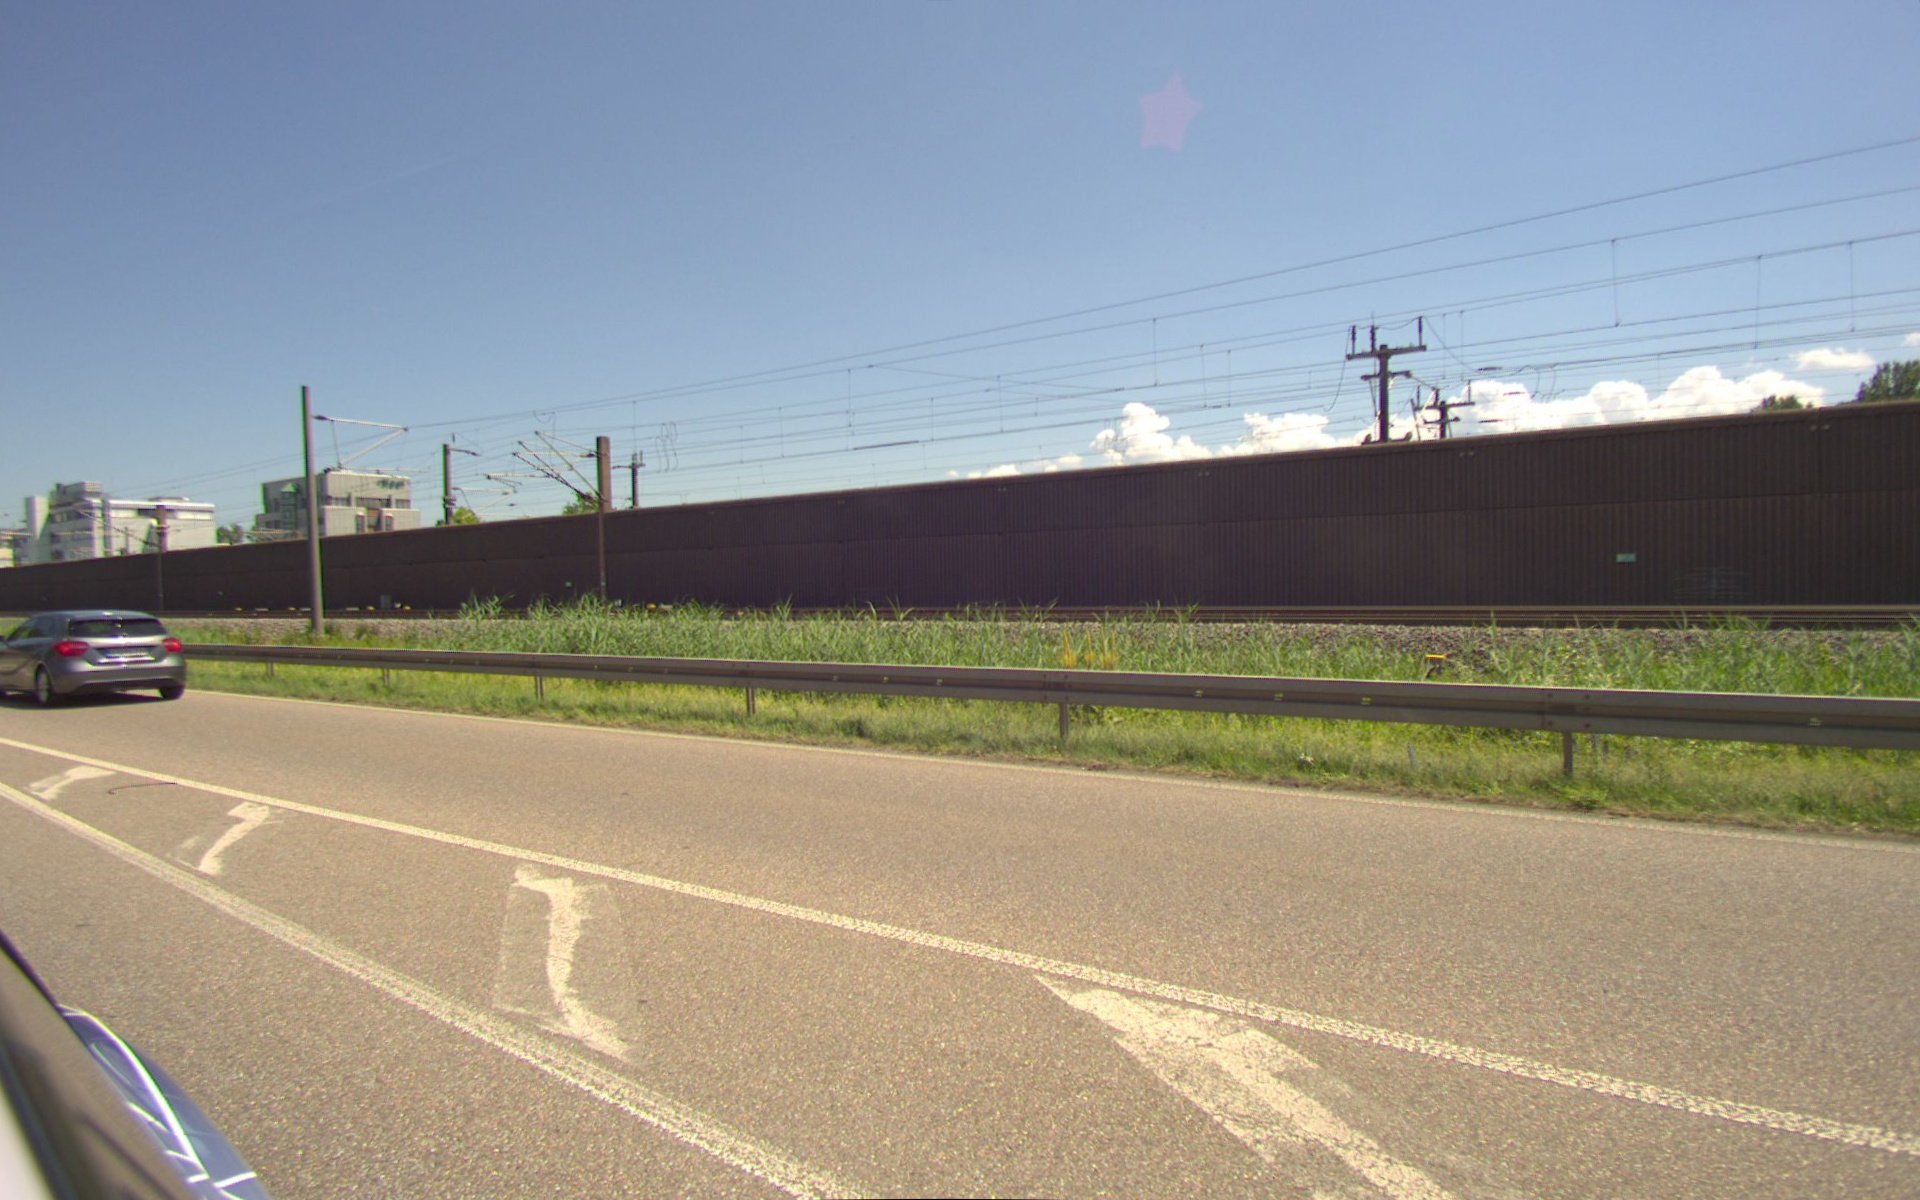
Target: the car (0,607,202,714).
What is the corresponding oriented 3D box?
[{"bbox_3d":[-14.572,0.899,16.585,4.872,1.496,1.850,-1,0,33],"label":"car"}]
